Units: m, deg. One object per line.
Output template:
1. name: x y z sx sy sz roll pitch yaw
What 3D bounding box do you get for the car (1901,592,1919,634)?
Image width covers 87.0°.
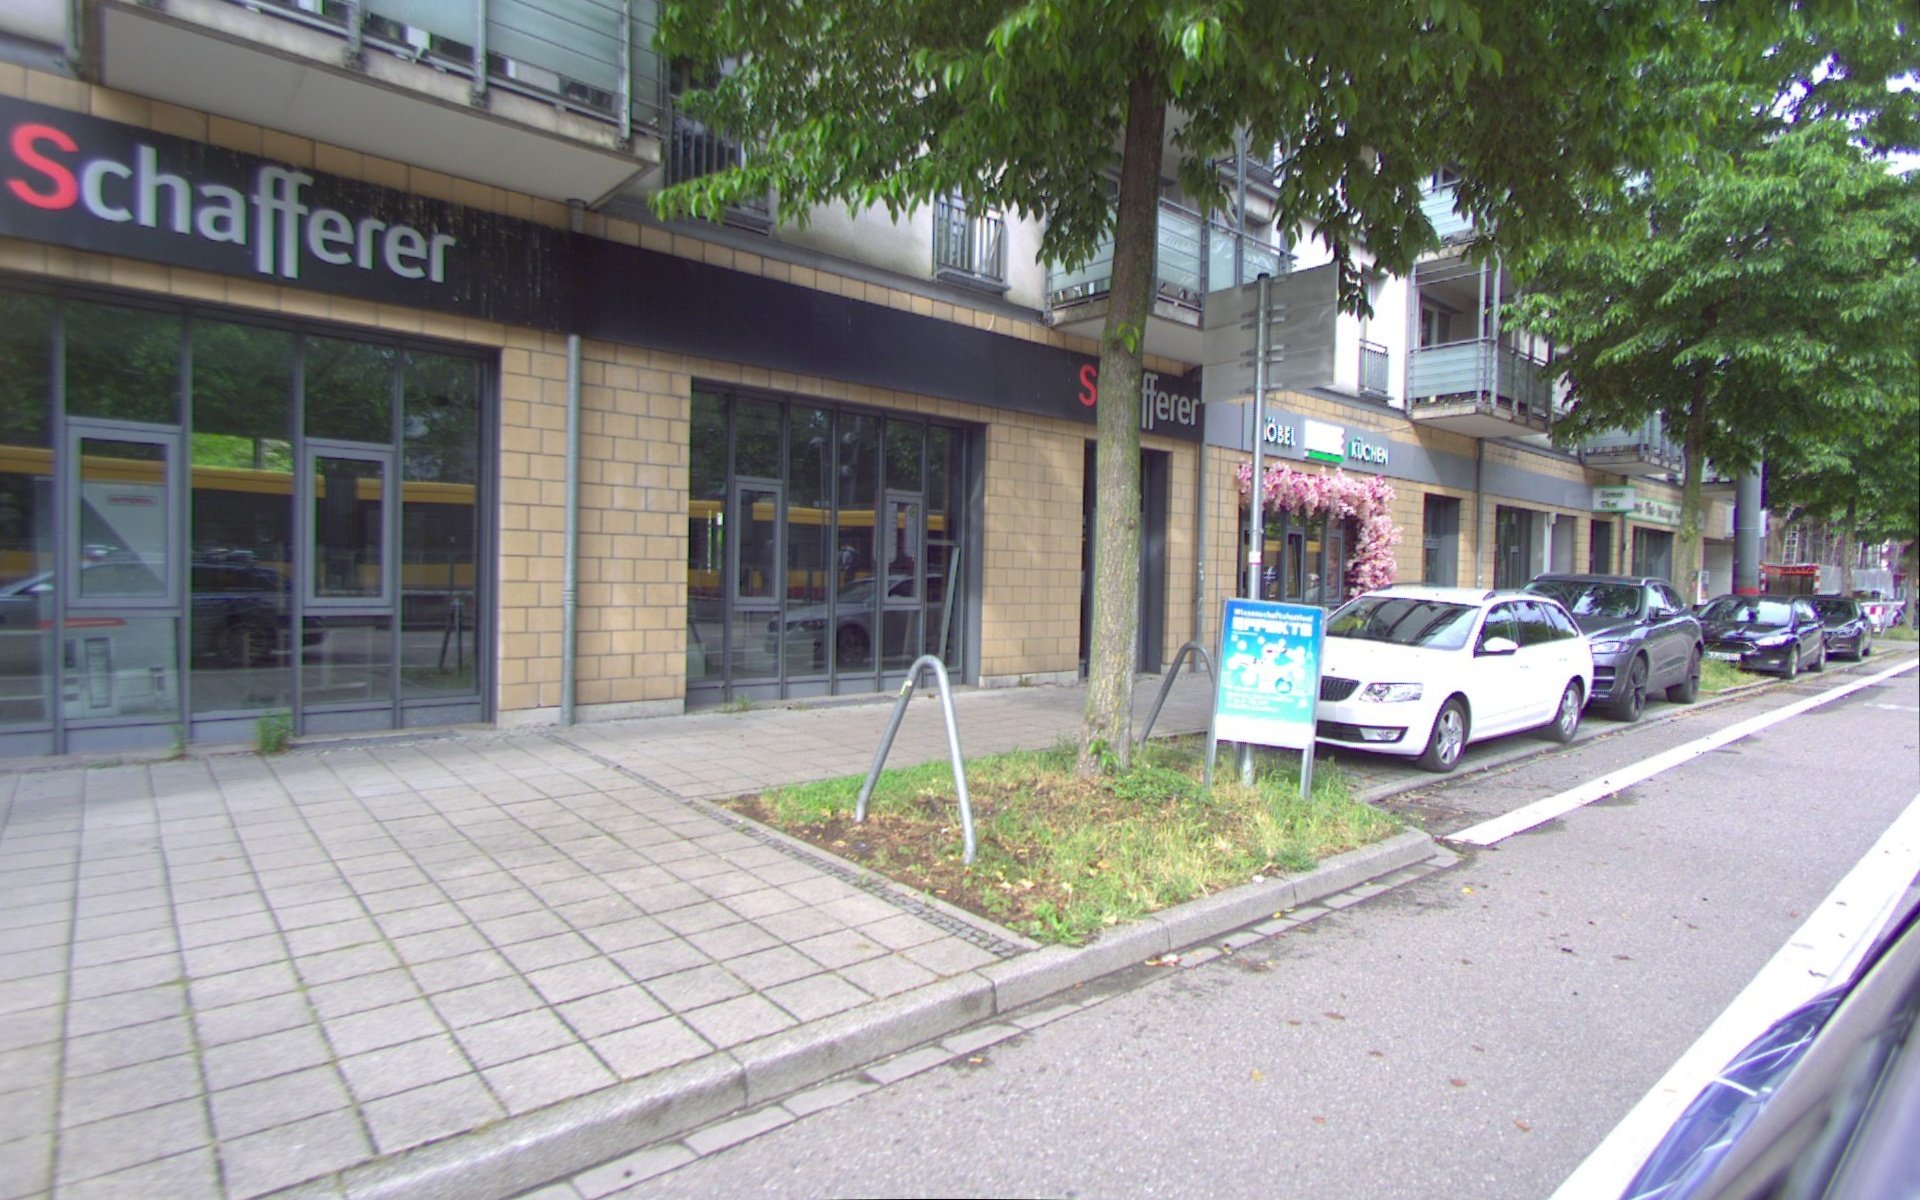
1. car: 36.659 0.499 37.797 4.206 1.478 1.754 -1 4 -41

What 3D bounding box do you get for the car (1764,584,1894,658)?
1. car: 20.643 0.415 23.980 4.315 1.472 1.800 -1 5 -43

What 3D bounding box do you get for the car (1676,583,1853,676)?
1. car: 15.110 0.470 18.931 4.329 1.459 1.681 0 4 -40

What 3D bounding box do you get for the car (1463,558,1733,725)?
1. car: 8.371 0.398 13.087 4.631 1.737 1.715 -1 4 -42

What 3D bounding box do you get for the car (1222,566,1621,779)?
1. car: 4.513 0.512 9.597 4.312 1.517 1.681 0 4 -40
